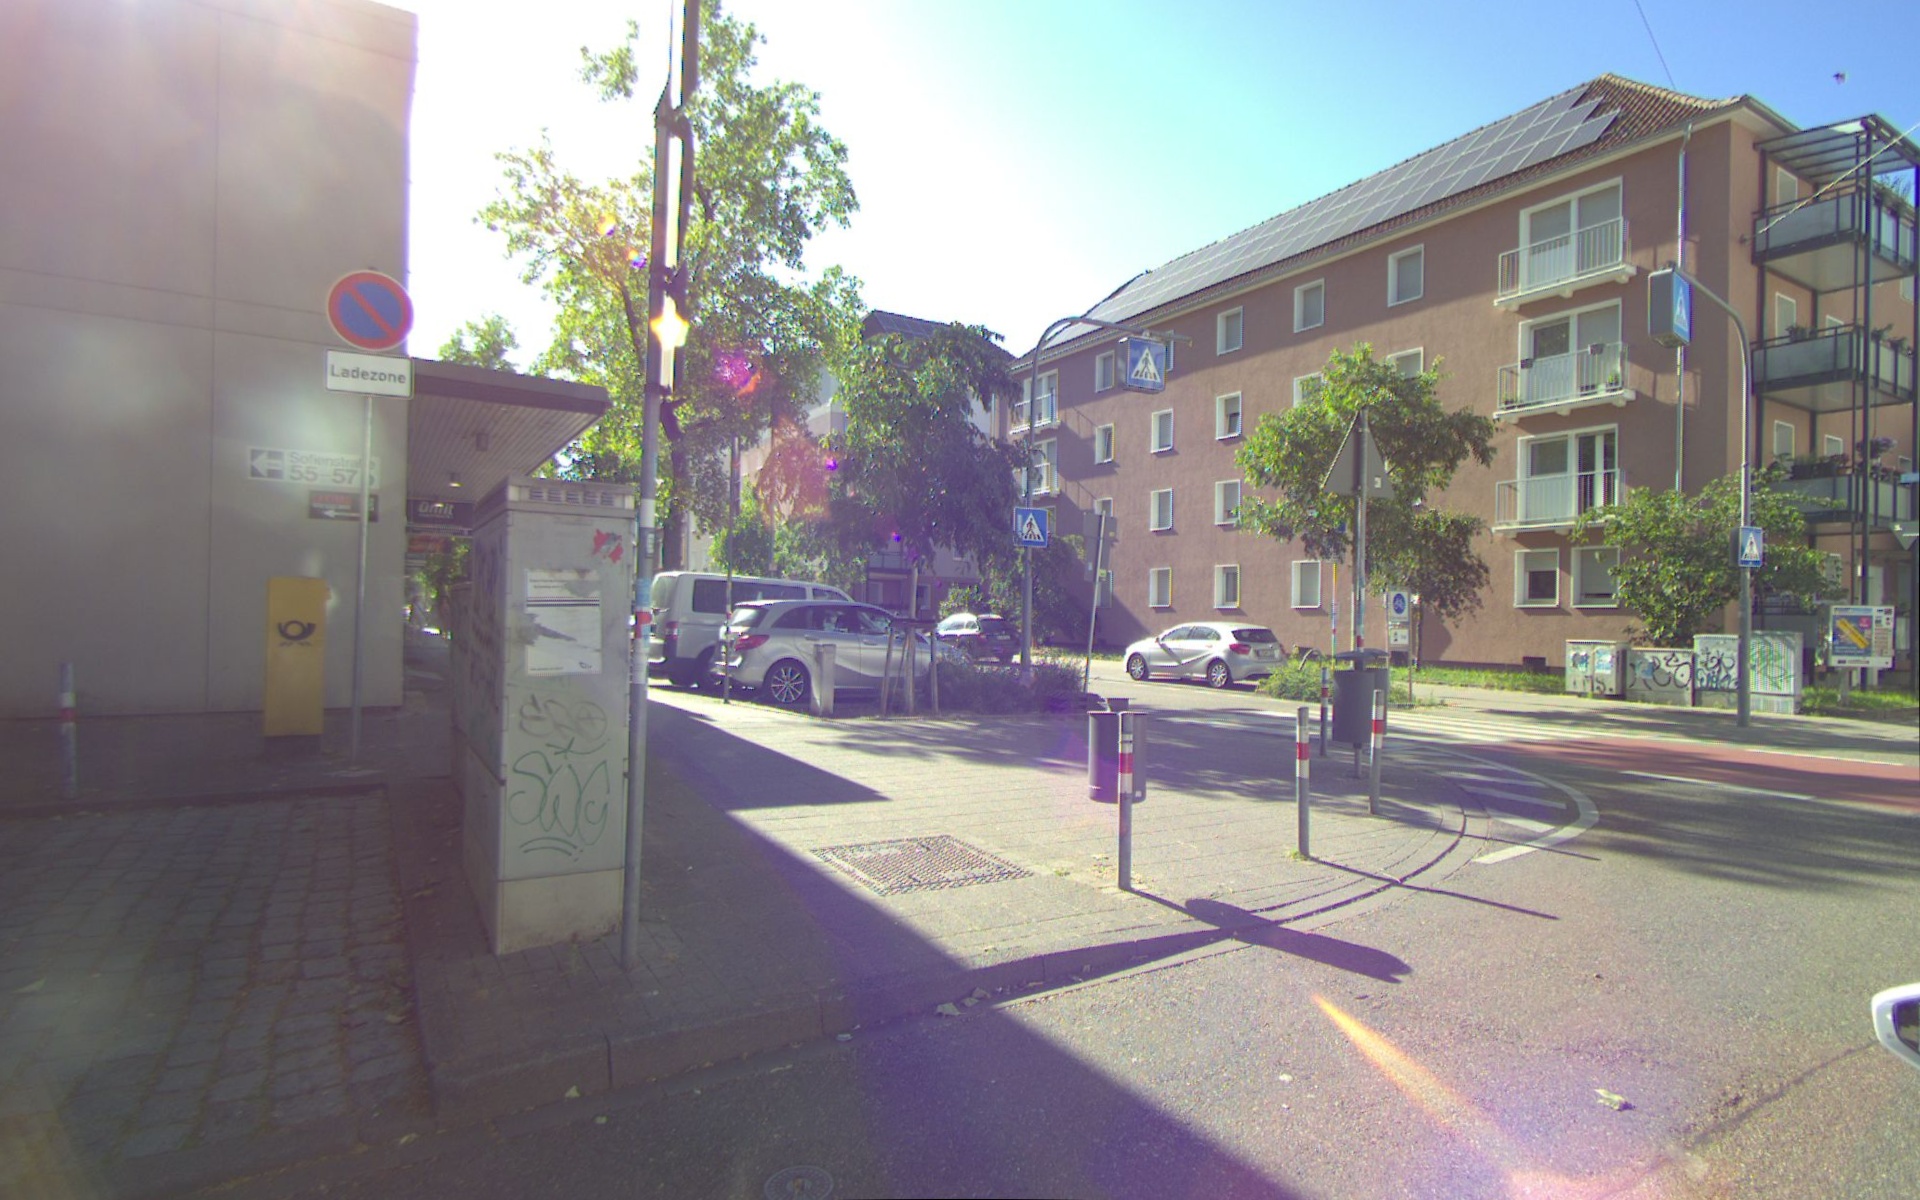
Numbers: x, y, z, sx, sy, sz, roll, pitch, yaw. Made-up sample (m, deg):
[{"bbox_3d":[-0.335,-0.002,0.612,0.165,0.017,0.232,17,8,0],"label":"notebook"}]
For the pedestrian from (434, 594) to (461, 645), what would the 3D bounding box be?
[{"bbox_3d":[-15.967,0.610,31.302,0.681,1.542,0.528,3,-1,-30],"label":"pedestrian"}]

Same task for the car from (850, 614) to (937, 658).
[{"bbox_3d":[-2.545,1.317,37.631,1.725,1.539,3.827,1,-1,-30],"label":"car"}]

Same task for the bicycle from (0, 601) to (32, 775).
[{"bbox_3d":[-7.193,0.590,6.398,0.790,1.168,1.715,2,1,28],"label":"bicycle"}]

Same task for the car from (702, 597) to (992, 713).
[{"bbox_3d":[-1.743,0.833,16.013,4.257,1.634,1.743,2,-1,-32],"label":"car"}]

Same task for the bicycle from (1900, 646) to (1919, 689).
[{"bbox_3d":[24.313,1.712,25.304,0.285,1.049,1.217,1,-1,9],"label":"bicycle"}]

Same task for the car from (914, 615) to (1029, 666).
[{"bbox_3d":[0.279,1.256,32.277,1.768,1.539,4.274,1,-1,-30],"label":"car"}]

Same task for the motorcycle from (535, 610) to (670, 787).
[{"bbox_3d":[-2.940,0.719,8.143,0.662,1.196,1.906,2,1,-30],"label":"motorcycle"}]

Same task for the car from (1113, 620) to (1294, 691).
[{"bbox_3d":[5.553,1.227,23.375,1.726,1.473,4.121,1,-1,-31],"label":"car"}]

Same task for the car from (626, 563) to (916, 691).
[{"bbox_3d":[-3.314,0.553,18.033,4.695,2.032,1.942,3,-2,-33],"label":"car"}]

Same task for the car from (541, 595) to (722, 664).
[{"bbox_3d":[-9.352,0.864,28.732,4.591,1.828,1.821,2,-1,-32],"label":"car"}]

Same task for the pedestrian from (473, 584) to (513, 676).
[{"bbox_3d":[-8.744,0.560,18.793,0.560,1.688,0.707,3,-1,-29],"label":"pedestrian"}]

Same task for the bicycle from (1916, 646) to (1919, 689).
[{"bbox_3d":[24.658,1.724,25.244,0.261,1.086,1.217,1,-1,9],"label":"bicycle"}]
